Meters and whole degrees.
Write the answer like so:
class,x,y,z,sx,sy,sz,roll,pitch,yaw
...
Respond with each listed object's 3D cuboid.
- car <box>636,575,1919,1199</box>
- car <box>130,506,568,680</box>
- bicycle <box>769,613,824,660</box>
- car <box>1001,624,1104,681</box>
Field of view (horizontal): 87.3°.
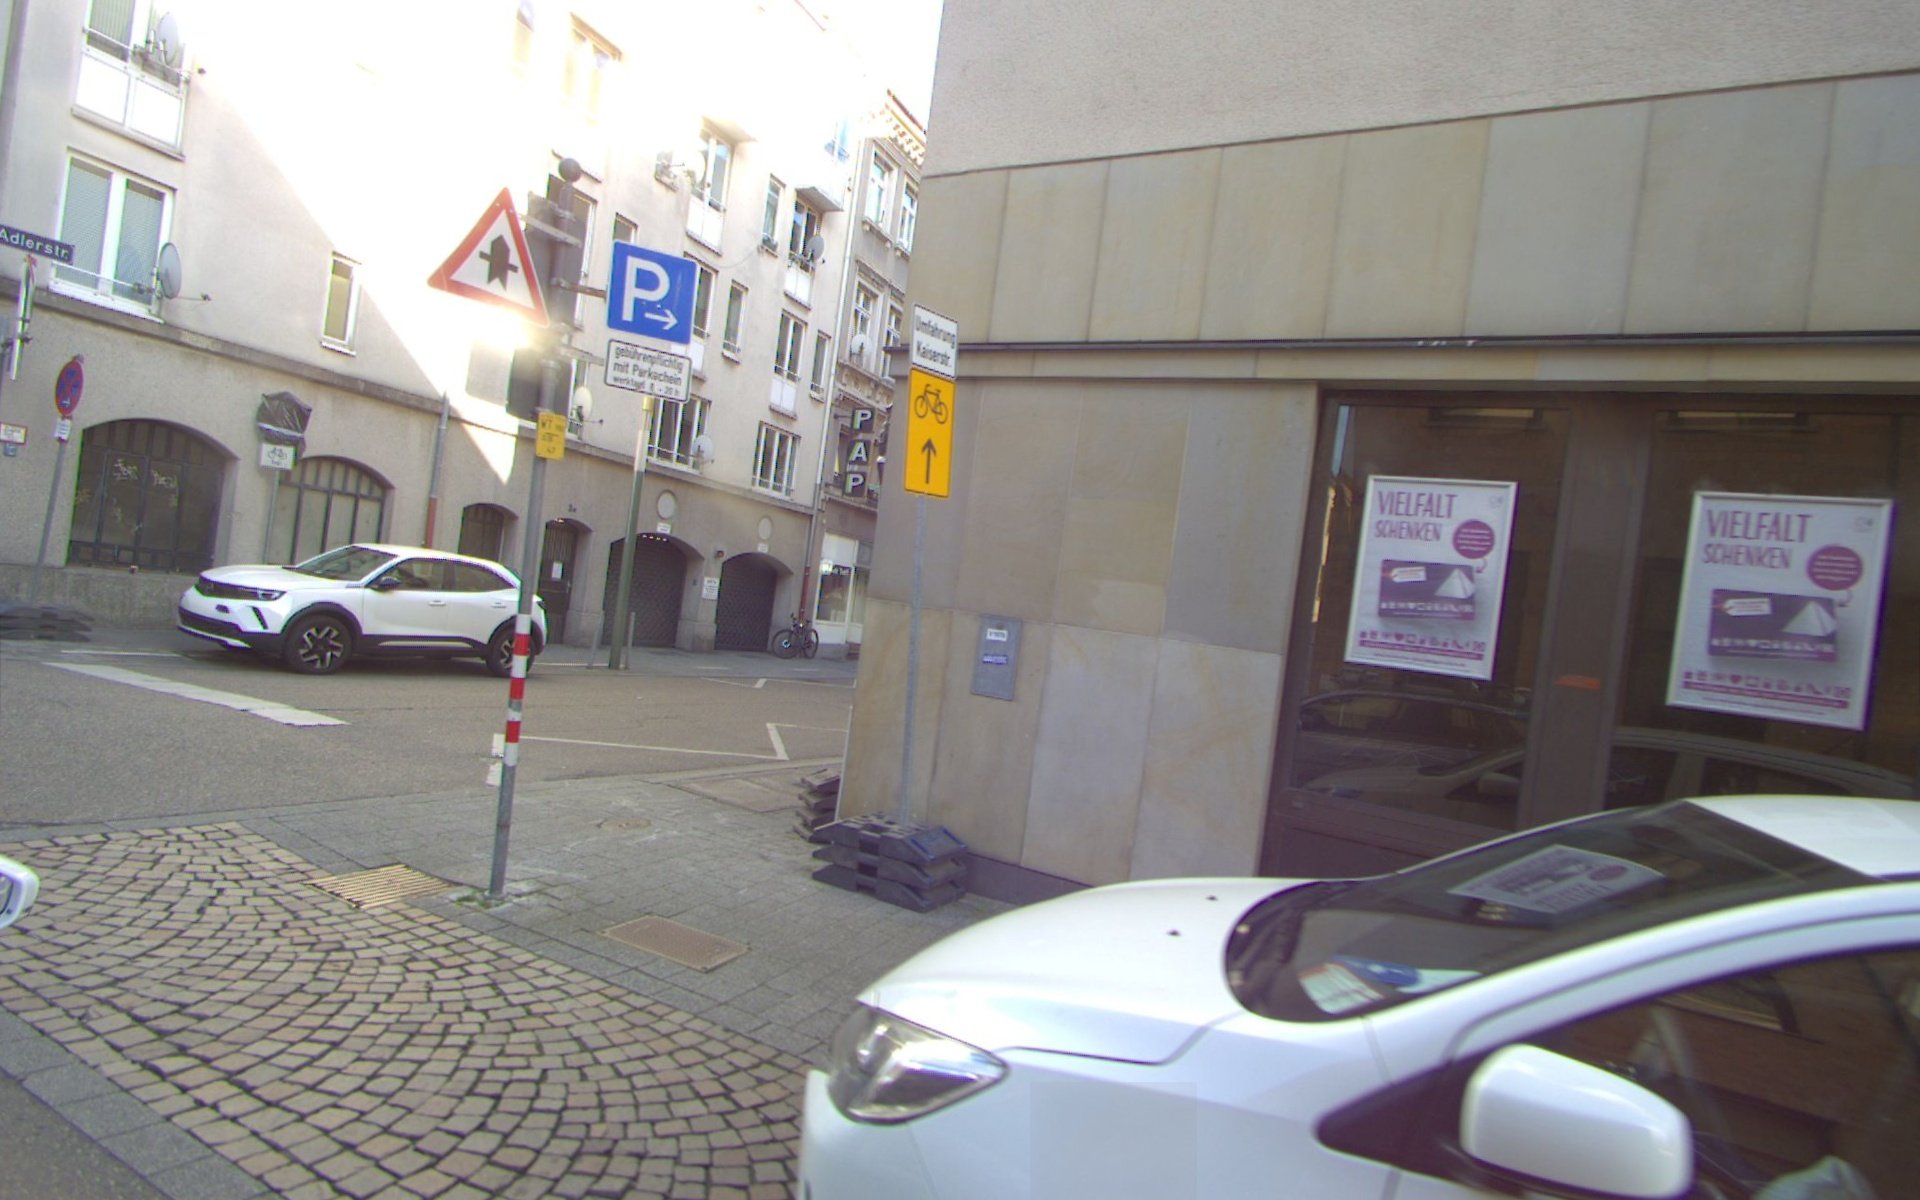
class,x,y,z,sx,sy,sz,roll,pitch,yaw
car,1.645,1.031,1.785,3.990,1.536,1.894,7,-1,26
car,-7.381,0.033,12.655,1.869,1.571,4.227,8,-2,28
bicycle,-4.021,0.917,24.886,0.460,1.032,1.463,8,-1,26
car,3.271,1.867,34.837,1.963,1.543,4.355,7,-1,26
